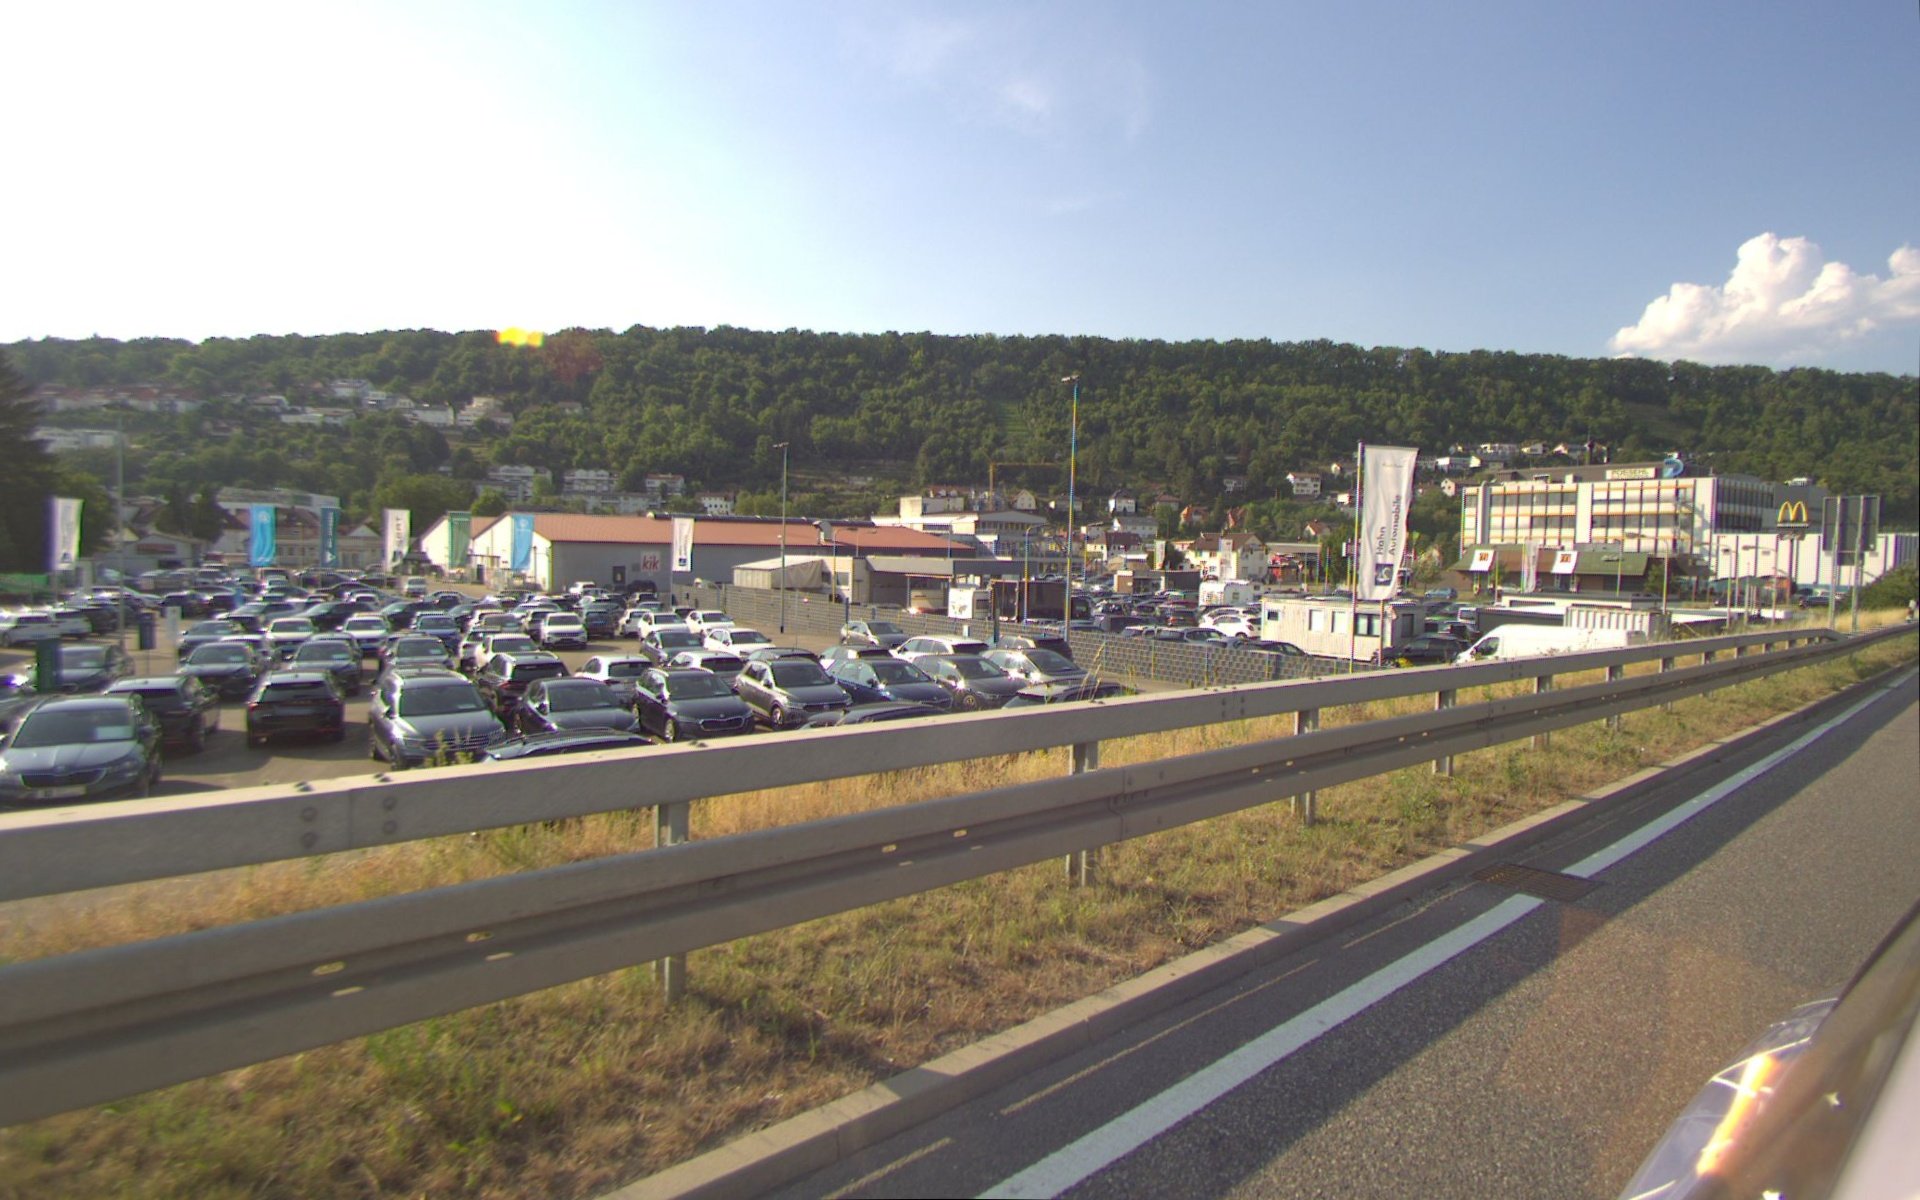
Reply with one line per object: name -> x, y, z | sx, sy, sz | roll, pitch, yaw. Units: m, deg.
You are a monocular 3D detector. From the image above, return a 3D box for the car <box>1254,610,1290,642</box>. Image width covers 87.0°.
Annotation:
car -> 17.364, 1.422, 56.223 | 1.661, 1.589, 3.750 | 0, 1, 21

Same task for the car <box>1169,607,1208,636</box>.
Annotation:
car -> 13.905, 1.290, 61.410 | 1.662, 1.589, 3.747 | 0, 1, 23

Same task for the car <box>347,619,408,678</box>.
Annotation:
car -> -20.283, 1.625, 35.277 | 1.746, 1.749, 4.005 | -1, 1, -30

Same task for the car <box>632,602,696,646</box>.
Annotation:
car -> -14.265, 1.103, 48.622 | 1.889, 1.883, 4.002 | -1, 1, -33

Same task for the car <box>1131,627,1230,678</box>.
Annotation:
car -> 8.635, 2.013, 39.551 | 3.840, 1.715, 1.602 | -1, 1, -35

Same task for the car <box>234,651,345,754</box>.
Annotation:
car -> -14.720, 2.138, 22.288 | 1.849, 1.656, 4.442 | -1, 2, -33

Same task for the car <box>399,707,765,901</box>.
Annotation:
car -> -4.887, 2.521, 13.467 | 4.237, 1.646, 1.740 | -1, 2, -42

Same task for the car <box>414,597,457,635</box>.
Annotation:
car -> -25.234, 0.737, 48.621 | 1.722, 1.661, 3.970 | -1, 1, -29

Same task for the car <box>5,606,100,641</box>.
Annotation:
car -> -42.197, 1.069, 47.053 | 3.955, 1.474, 1.792 | 0, 1, 23

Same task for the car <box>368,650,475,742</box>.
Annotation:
car -> -13.008, 2.197, 24.317 | 1.849, 1.656, 4.442 | -1, 2, -33

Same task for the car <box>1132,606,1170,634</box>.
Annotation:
car -> 12.136, 1.265, 64.130 | 1.662, 1.589, 3.747 | 0, 1, 23

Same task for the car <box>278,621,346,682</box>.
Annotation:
car -> -22.242, 1.709, 34.831 | 1.746, 1.749, 4.005 | -1, 1, -30

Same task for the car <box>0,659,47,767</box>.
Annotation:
car -> -18.962, 2.132, 19.136 | 1.849, 1.656, 4.442 | -1, 2, -33

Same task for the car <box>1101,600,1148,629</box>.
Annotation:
car -> 10.831, 0.933, 66.422 | 1.756, 1.705, 3.632 | 1, 2, 32

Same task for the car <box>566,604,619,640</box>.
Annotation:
car -> -18.883, 1.094, 51.886 | 1.723, 1.661, 3.967 | -1, 1, -33

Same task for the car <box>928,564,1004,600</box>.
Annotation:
car -> 0.437, -1.267, 71.156 | 5.228, 2.468, 2.000 | -1, 1, -36

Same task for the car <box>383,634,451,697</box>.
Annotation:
car -> -16.894, 1.977, 31.422 | 1.597, 1.593, 3.489 | -1, 1, -33

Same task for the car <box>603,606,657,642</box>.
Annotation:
car -> -17.334, 1.215, 53.081 | 1.723, 1.661, 3.967 | -1, 1, -33

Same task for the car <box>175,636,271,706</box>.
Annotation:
car -> -20.892, 1.938, 28.823 | 1.746, 1.584, 4.005 | -1, 1, -30

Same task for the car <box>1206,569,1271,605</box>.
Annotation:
car -> 20.445, -0.964, 74.206 | 5.370, 2.581, 1.760 | -1, 1, -38

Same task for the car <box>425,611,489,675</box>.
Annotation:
car -> -18.194, 1.495, 36.713 | 1.959, 2.039, 4.007 | -1, 1, -25

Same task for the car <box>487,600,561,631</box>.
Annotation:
car -> -25.200, 0.866, 58.629 | 1.855, 1.656, 4.428 | 0, 1, 10

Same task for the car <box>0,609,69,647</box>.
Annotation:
car -> -40.309, 1.174, 43.301 | 3.955, 1.474, 1.792 | 0, 1, 23

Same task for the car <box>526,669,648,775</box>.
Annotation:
car -> -7.625, 2.379, 20.508 | 1.597, 1.593, 3.489 | -1, 1, -33

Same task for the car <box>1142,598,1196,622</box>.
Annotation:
car -> 14.929, 0.696, 72.381 | 3.367, 1.636, 1.810 | -1, 1, -18

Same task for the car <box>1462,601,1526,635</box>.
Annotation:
car -> 33.227, 1.082, 62.966 | 4.740, 1.976, 1.760 | -1, 1, -38

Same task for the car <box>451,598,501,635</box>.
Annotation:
car -> -23.679, 0.756, 49.424 | 1.723, 1.661, 3.967 | -1, 1, -33

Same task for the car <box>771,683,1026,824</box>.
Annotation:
car -> -0.932, 2.464, 17.202 | 4.241, 1.646, 1.739 | -1, 2, -44

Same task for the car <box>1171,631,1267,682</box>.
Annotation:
car -> 9.749, 2.090, 38.049 | 3.600, 1.631, 1.602 | -1, 1, -37

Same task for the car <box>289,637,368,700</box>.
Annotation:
car -> -18.607, 1.963, 29.953 | 1.745, 1.474, 4.005 | -1, 1, -29

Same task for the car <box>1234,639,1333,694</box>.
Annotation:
car -> 11.505, 2.318, 35.922 | 3.600, 1.631, 1.602 | -1, 1, -37

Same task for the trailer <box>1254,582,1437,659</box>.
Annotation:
trailer -> 18.700, 0.850, 49.600 | 3.296, 3.364, 7.903 | -1, 2, -36

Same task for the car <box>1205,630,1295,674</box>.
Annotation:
car -> 12.053, 2.123, 42.045 | 3.793, 1.530, 1.602 | -1, 1, -35

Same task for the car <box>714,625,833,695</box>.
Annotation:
car -> -5.519, 1.670, 29.516 | 1.849, 1.656, 4.442 | -1, 2, -33

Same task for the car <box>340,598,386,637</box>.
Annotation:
car -> -27.630, 0.762, 46.935 | 1.722, 1.661, 3.970 | -1, 1, -29

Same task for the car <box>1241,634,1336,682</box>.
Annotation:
car -> 13.078, 2.242, 40.220 | 4.104, 1.524, 1.601 | -1, 4, -39

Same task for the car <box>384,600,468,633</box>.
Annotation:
car -> -29.830, 0.882, 56.687 | 1.855, 1.656, 4.428 | 0, 1, 10

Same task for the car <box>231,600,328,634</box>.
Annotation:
car -> -37.022, 0.883, 55.169 | 1.855, 1.656, 4.428 | 0, 1, 10

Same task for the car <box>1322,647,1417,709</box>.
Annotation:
car -> 13.444, 2.502, 33.158 | 3.609, 1.631, 1.598 | -1, 2, -45

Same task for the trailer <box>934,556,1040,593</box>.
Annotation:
trailer -> 1.615, -1.465, 58.219 | 6.166, 2.047, 2.000 | -1, 1, -36

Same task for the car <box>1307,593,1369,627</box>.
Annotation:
car -> 27.366, 0.691, 73.195 | 5.201, 2.274, 1.760 | -1, 1, -38

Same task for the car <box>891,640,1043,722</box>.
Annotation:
car -> 0.083, 2.014, 26.498 | 1.849, 1.656, 4.442 | -1, 2, -33

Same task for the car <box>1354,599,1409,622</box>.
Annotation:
car -> 31.837, 0.796, 76.416 | 4.740, 1.585, 1.760 | -1, 2, -38

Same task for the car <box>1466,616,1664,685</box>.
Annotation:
car -> 21.805, 1.736, 36.775 | 1.964, 2.039, 5.897 | -1, 2, -38

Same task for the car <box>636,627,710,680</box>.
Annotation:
car -> -10.250, 1.866, 35.994 | 1.597, 1.593, 3.489 | -1, 1, -33

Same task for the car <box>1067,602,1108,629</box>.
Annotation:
car -> 8.755, 1.010, 69.443 | 1.751, 1.705, 3.641 | 0, 1, 26

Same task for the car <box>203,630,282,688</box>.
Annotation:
car -> -23.677, 1.906, 33.493 | 1.595, 1.593, 3.492 | -1, 1, -27

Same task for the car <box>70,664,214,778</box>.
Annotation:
car -> -16.609, 2.355, 20.764 | 1.849, 1.656, 4.442 | -1, 2, -33

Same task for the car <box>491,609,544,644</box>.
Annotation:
car -> -22.022, 1.256, 50.293 | 1.796, 1.521, 4.002 | -1, 2, -33
